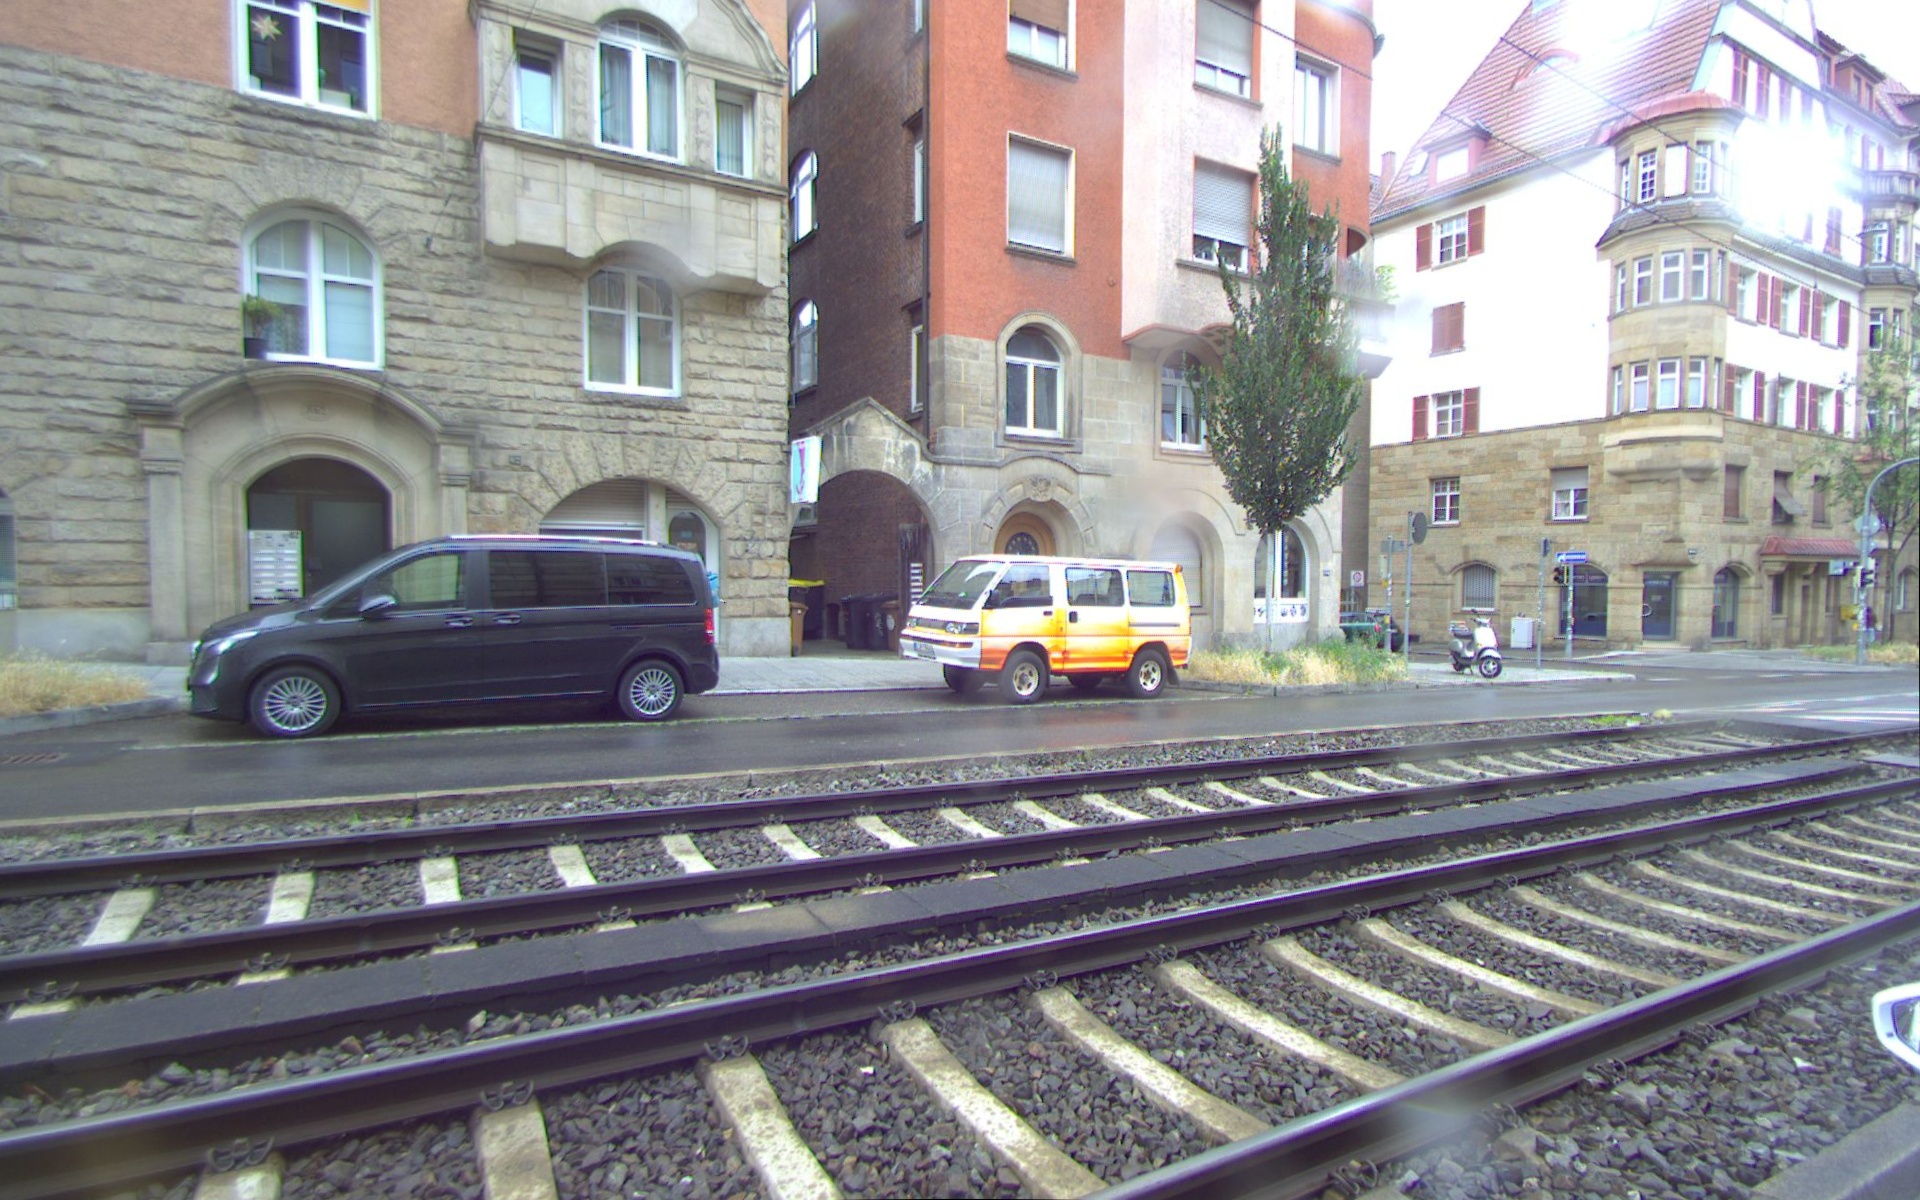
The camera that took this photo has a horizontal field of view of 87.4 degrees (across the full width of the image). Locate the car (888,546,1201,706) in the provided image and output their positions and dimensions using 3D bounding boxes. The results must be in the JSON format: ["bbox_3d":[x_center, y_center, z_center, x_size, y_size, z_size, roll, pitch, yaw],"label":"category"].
[{"bbox_3d":[1.277,0.374,14.439,4.295,2.001,1.721,2,0,-32],"label":"car"}]

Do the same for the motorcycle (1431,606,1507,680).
[{"bbox_3d":[10.107,0.829,20.001,0.612,1.384,1.596,2,0,-3],"label":"motorcycle"}]

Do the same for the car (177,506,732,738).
[{"bbox_3d":[-5.049,0.248,10.595,4.769,1.968,1.984,2,0,-30],"label":"car"}]

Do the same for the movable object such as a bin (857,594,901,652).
[{"bbox_3d":[-1.544,0.439,19.139,0.607,1.090,0.679,1,-1,-27],"label":"movable object such as a bin"}]

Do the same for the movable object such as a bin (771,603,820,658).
[{"bbox_3d":[-2.890,0.521,17.591,0.627,0.918,0.793,1,1,-27],"label":"movable object such as a bin"}]

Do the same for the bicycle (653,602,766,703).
[{"bbox_3d":[-3.354,0.656,13.294,0.818,1.202,2.018,2,0,-33],"label":"bicycle"}]

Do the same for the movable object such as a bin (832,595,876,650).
[{"bbox_3d":[-2.082,0.444,19.686,0.607,1.052,0.793,1,-1,-27],"label":"movable object such as a bin"}]

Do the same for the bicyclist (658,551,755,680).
[{"bbox_3d":[-3.391,0.199,13.382,0.878,1.618,1.242,1,0,-33],"label":"bicyclist"}]

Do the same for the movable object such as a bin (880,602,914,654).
[{"bbox_3d":[-1.172,0.514,18.631,0.442,0.957,0.557,1,-1,-27],"label":"movable object such as a bin"}]

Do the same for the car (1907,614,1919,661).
[{"bbox_3d":[34.170,1.329,34.354,3.994,1.573,1.741,2,0,-34],"label":"car"}]

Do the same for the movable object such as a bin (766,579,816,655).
[{"bbox_3d":[-3.105,0.300,18.463,0.648,1.360,0.903,1,1,-27],"label":"movable object such as a bin"}]

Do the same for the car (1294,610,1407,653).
[{"bbox_3d":[14.463,1.155,37.344,1.683,1.423,3.618,2,0,-34],"label":"car"}]

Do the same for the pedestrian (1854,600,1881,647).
[{"bbox_3d":[33.517,0.873,37.103,0.697,1.695,0.626,2,0,-39],"label":"pedestrian"}]

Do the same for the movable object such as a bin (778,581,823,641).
[{"bbox_3d":[-3.609,0.237,22.657,0.676,1.324,1.154,1,1,-26],"label":"movable object such as a bin"}]
